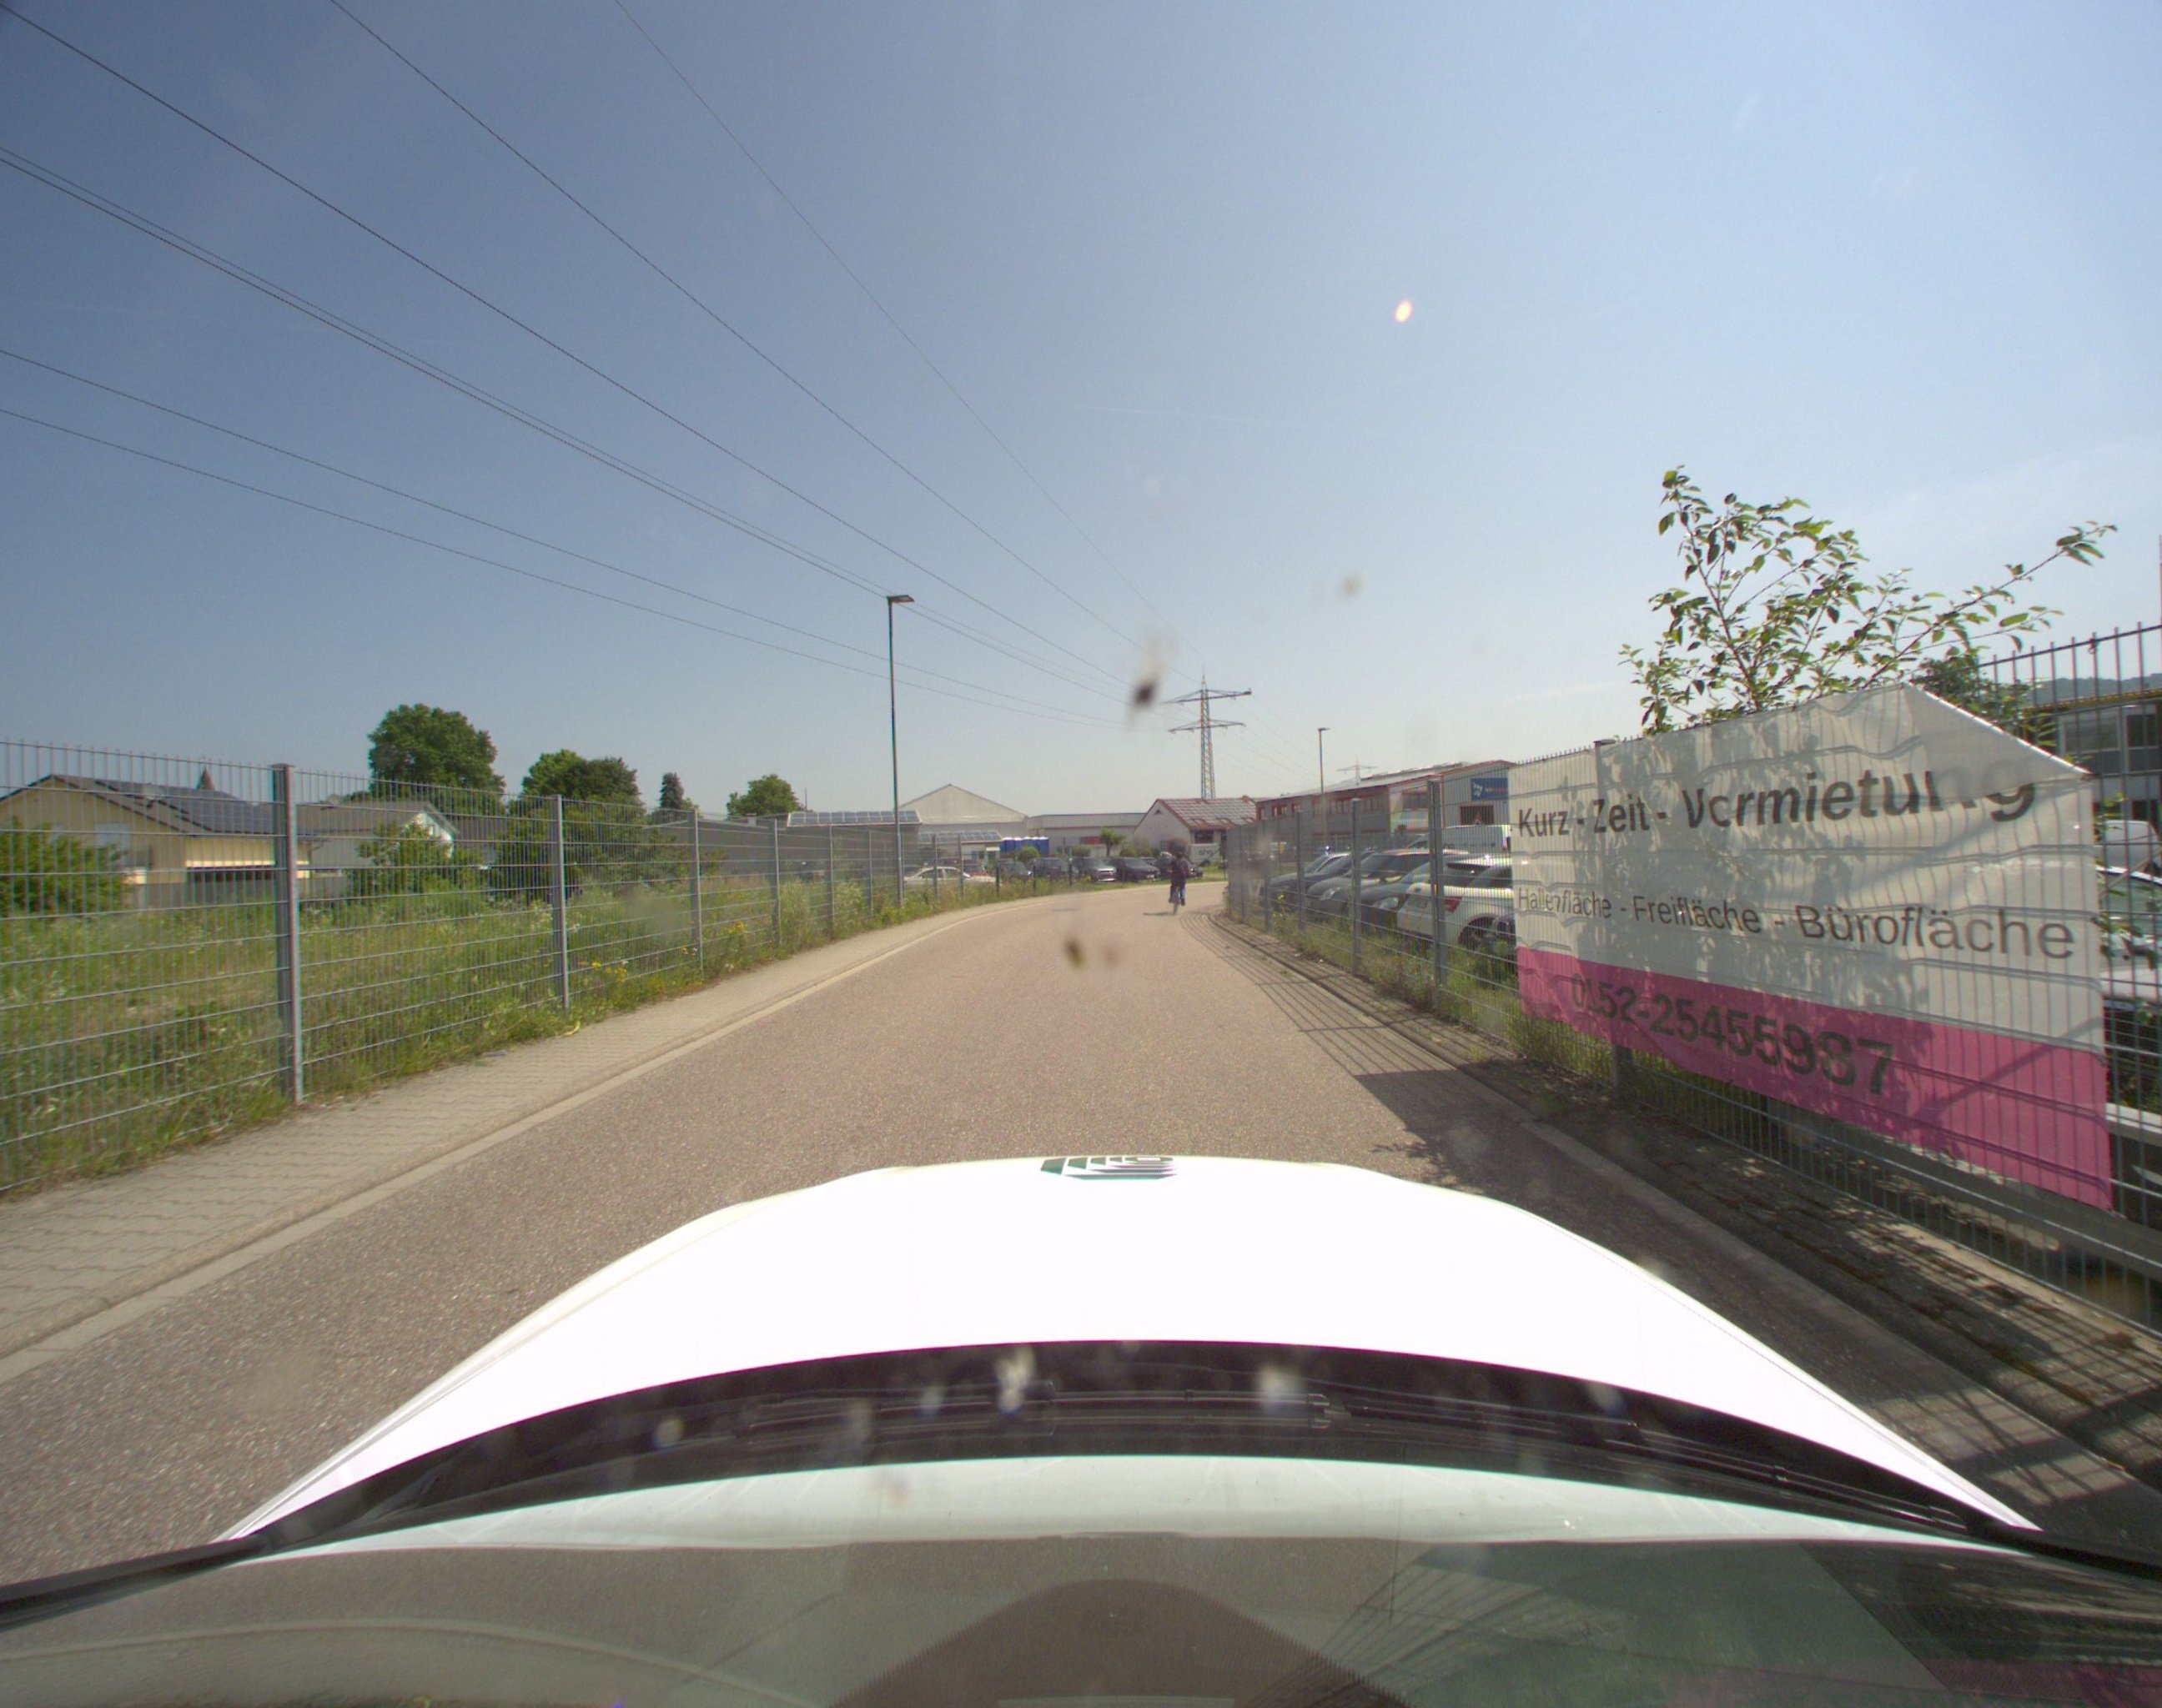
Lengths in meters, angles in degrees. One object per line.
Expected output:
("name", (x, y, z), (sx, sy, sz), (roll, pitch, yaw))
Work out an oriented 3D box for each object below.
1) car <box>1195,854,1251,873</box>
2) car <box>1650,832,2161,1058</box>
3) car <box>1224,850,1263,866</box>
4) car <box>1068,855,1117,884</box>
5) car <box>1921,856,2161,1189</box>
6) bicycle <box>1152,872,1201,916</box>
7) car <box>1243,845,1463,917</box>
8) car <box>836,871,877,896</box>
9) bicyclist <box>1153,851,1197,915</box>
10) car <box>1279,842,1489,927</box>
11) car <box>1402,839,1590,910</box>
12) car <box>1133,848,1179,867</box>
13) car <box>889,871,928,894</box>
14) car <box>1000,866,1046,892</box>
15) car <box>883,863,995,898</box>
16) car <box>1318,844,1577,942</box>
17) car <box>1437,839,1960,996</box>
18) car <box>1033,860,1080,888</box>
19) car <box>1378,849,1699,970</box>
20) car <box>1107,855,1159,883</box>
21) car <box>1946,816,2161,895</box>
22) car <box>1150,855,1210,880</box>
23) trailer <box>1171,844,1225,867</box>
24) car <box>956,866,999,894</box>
("car", (10.820, 0.723, 62.113), (4.141, 1.261, 1.227), (-2, 0, -19))
("car", (6.308, 0.559, 5.958), (3.260, 1.354, 1.526), (-1, 0, -3))
("car", (17.644, 0.434, 88.522), (3.906, 1.516, 1.498), (-2, 0, -19))
("car", (0.663, 0.901, 49.081), (1.868, 1.644, 3.611), (-2, 0, -18))
("car", (6.304, 0.672, 3.484), (3.651, 1.354, 1.740), (-1, 0, -1))
("bicycle", (2.512, 1.016, 21.251), (0.678, 1.051, 1.912), (-1, 0, 26))
("car", (6.183, 0.598, 18.920), (4.519, 1.474, 1.826), (-2, 0, 2))
("car", (-13.934, 1.802, 50.431), (1.872, 1.414, 3.412), (-1, 0, -25))
("bicyclist", (2.455, 0.734, 21.099), (0.835, 1.618, 1.045), (-1, 0, 24))
("car", (5.963, 0.582, 16.289), (3.529, 1.502, 1.710), (-2, 0, -2))
("car", (13.830, 0.659, 27.445), (1.917, 2.149, 5.280), (-1, 0, -39))
("car", (7.151, 0.336, 77.629), (3.996, 1.598, 1.866), (-2, 0, -17))
("car", (-10.735, 1.736, 50.590), (1.869, 1.298, 3.417), (-2, 0, -20))
("car", (-3.458, 1.438, 47.885), (1.868, 1.433, 3.626), (-2, 0, -18))
("car", (-6.166, 1.123, 35.285), (4.560, 1.307, 1.857), (-2, 0, -18))
("car", (6.173, 0.641, 13.948), (3.644, 1.478, 1.748), (-1, -2, -6))
("car", (6.166, 0.586, 8.466), (4.172, 1.354, 1.722), (-1, 0, -2))
("car", (-1.506, 1.159, 48.505), (1.868, 1.561, 3.674), (-2, 0, -18))
("car", (6.186, 0.717, 11.275), (3.514, 1.389, 1.635), (3, 0, -2))
("car", (3.121, 0.896, 49.415), (1.868, 1.554, 3.747), (-2, 0, -18))
("car", (26.391, 0.011, 22.026), (5.067, 1.899, 1.849), (-2, 0, -14))
("car", (6.153, 0.816, 51.285), (2.001, 1.435, 4.636), (-2, 0, -18))
("trailer", (10.434, 0.125, 72.643), (4.438, 1.945, 1.712), (-2, 0, -4))
("car", (-5.972, 1.453, 46.731), (1.868, 1.453, 3.420), (-2, 0, -18))
